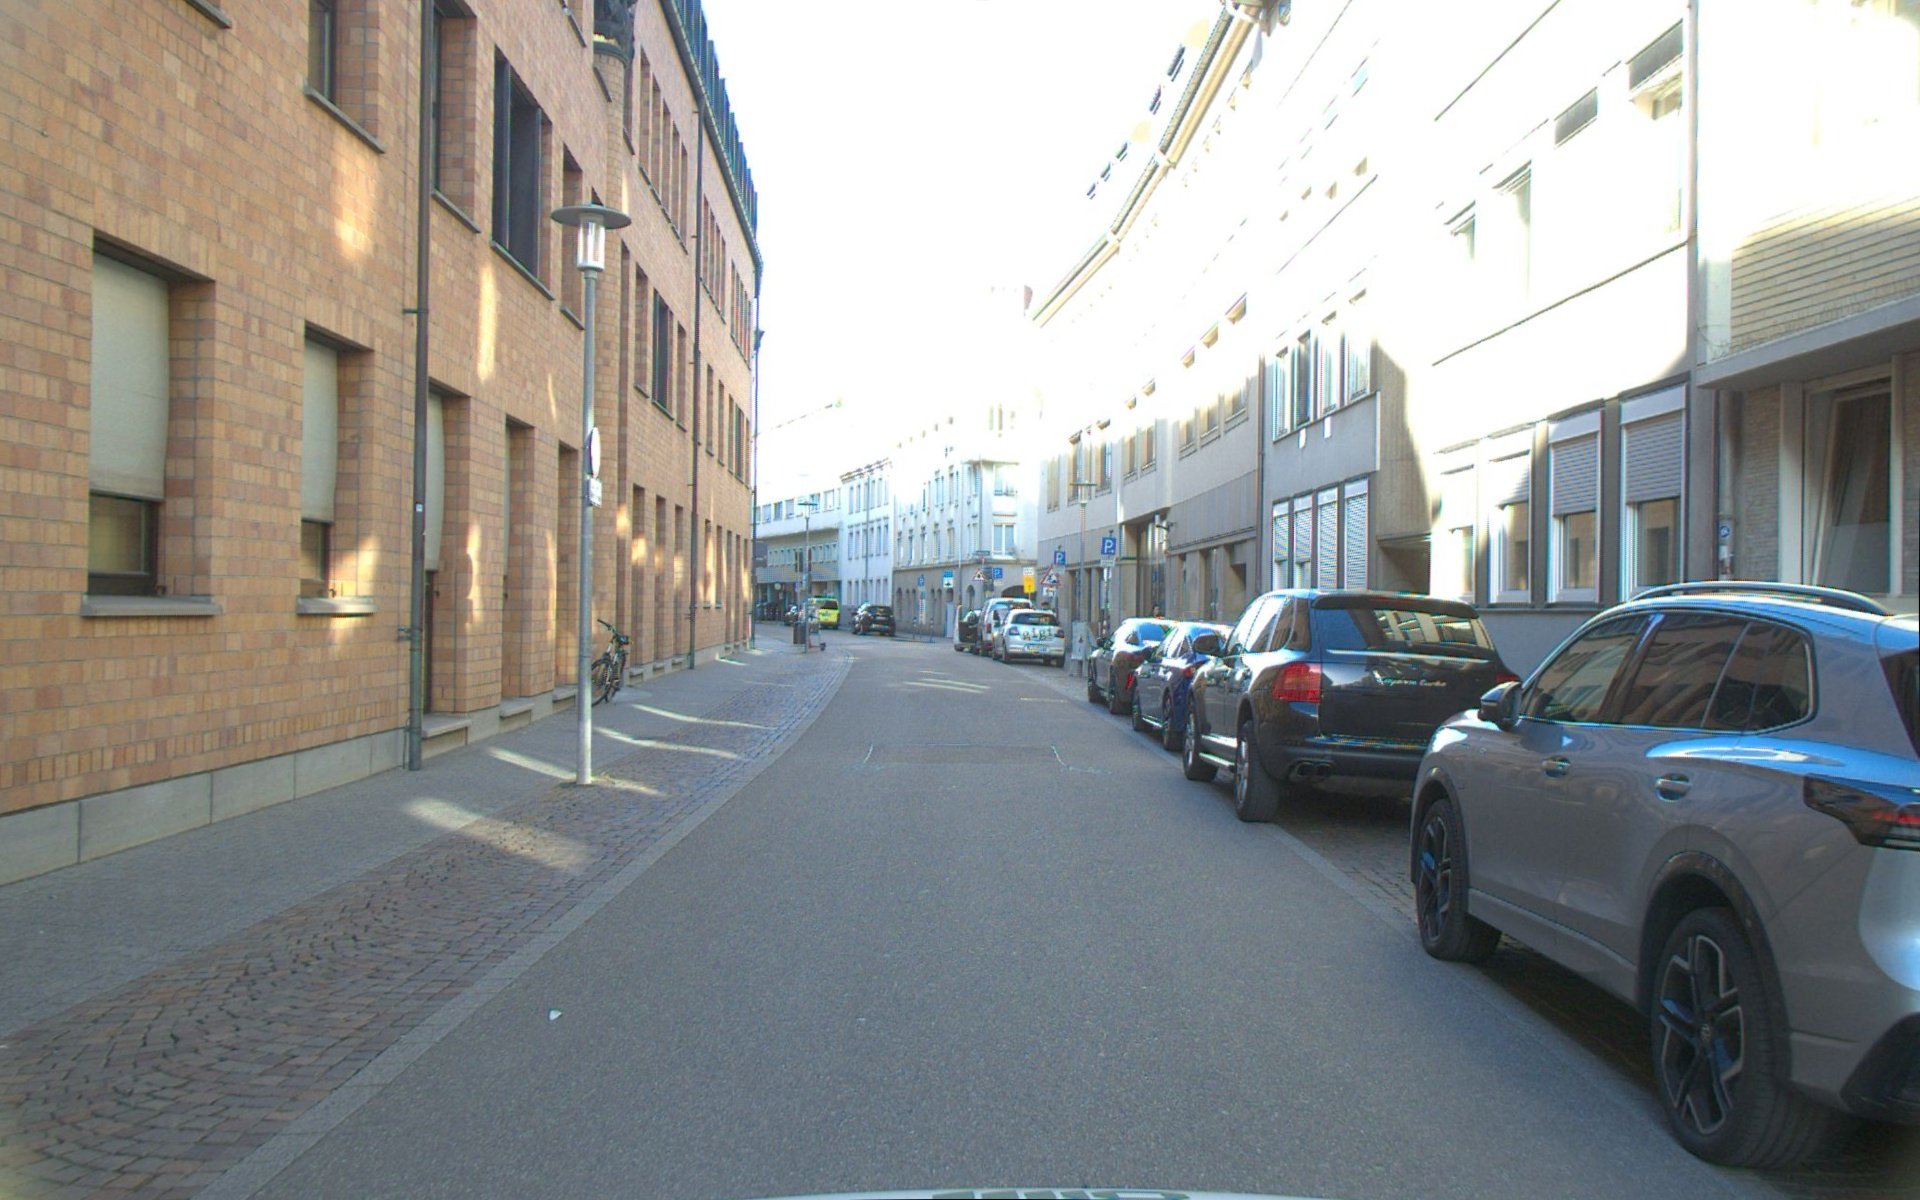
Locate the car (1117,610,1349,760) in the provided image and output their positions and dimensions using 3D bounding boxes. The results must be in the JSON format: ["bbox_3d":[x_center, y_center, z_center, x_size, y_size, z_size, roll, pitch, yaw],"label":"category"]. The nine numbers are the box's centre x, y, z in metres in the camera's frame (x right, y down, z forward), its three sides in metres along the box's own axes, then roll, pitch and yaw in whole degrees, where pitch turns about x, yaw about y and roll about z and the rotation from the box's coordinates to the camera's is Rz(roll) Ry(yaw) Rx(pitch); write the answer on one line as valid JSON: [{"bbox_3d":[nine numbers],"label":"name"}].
[{"bbox_3d":[3.082,0.904,19.664,1.771,1.437,4.788,3,0,-2],"label":"car"}]

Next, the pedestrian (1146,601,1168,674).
[{"bbox_3d":[4.620,0.871,38.696,0.470,1.683,0.539,0,0,10],"label":"pedestrian"}]

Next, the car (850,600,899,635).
[{"bbox_3d":[-4.620,0.917,88.553,1.934,1.721,4.088,2,0,-13],"label":"car"}]

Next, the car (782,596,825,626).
[{"bbox_3d":[-10.433,0.738,110.235,2.020,1.905,4.080,1,0,-17],"label":"car"}]

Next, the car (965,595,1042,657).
[{"bbox_3d":[1.341,0.798,53.044,1.795,1.822,5.208,2,-1,-5],"label":"car"}]

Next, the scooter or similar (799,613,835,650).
[{"bbox_3d":[-4.909,1.061,56.707,0.683,1.239,1.357,0,0,22],"label":"scooter or similar"}]

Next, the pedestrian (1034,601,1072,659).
[{"bbox_3d":[2.973,0.957,53.115,1.022,1.833,1.197,1,-1,-5],"label":"pedestrian"}]

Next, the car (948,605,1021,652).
[{"bbox_3d":[0.828,0.999,58.957,1.854,1.545,4.053,2,0,-10],"label":"car"}]

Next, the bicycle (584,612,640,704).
[{"bbox_3d":[-4.938,0.804,23.553,0.620,1.182,1.800,4,0,-9],"label":"bicycle"}]

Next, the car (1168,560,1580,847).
[{"bbox_3d":[3.060,0.688,13.483,2.060,1.817,5.051,2,0,0],"label":"car"}]

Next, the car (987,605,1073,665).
[{"bbox_3d":[1.930,0.956,46.771,1.805,1.504,4.163,3,0,-6],"label":"car"}]

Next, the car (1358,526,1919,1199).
[{"bbox_3d":[3.067,0.760,6.079,1.953,1.731,4.843,3,0,0],"label":"car"}]

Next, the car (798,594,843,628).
[{"bbox_3d":[-8.850,0.673,104.586,2.020,2.049,4.155,1,0,-17],"label":"car"}]

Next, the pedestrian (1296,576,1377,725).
[{"bbox_3d":[4.540,0.599,19.991,0.772,1.751,0.746,-1,0,-1],"label":"pedestrian"}]

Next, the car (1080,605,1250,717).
[{"bbox_3d":[3.050,0.862,25.699,1.856,1.478,5.224,2,0,-1],"label":"car"}]
